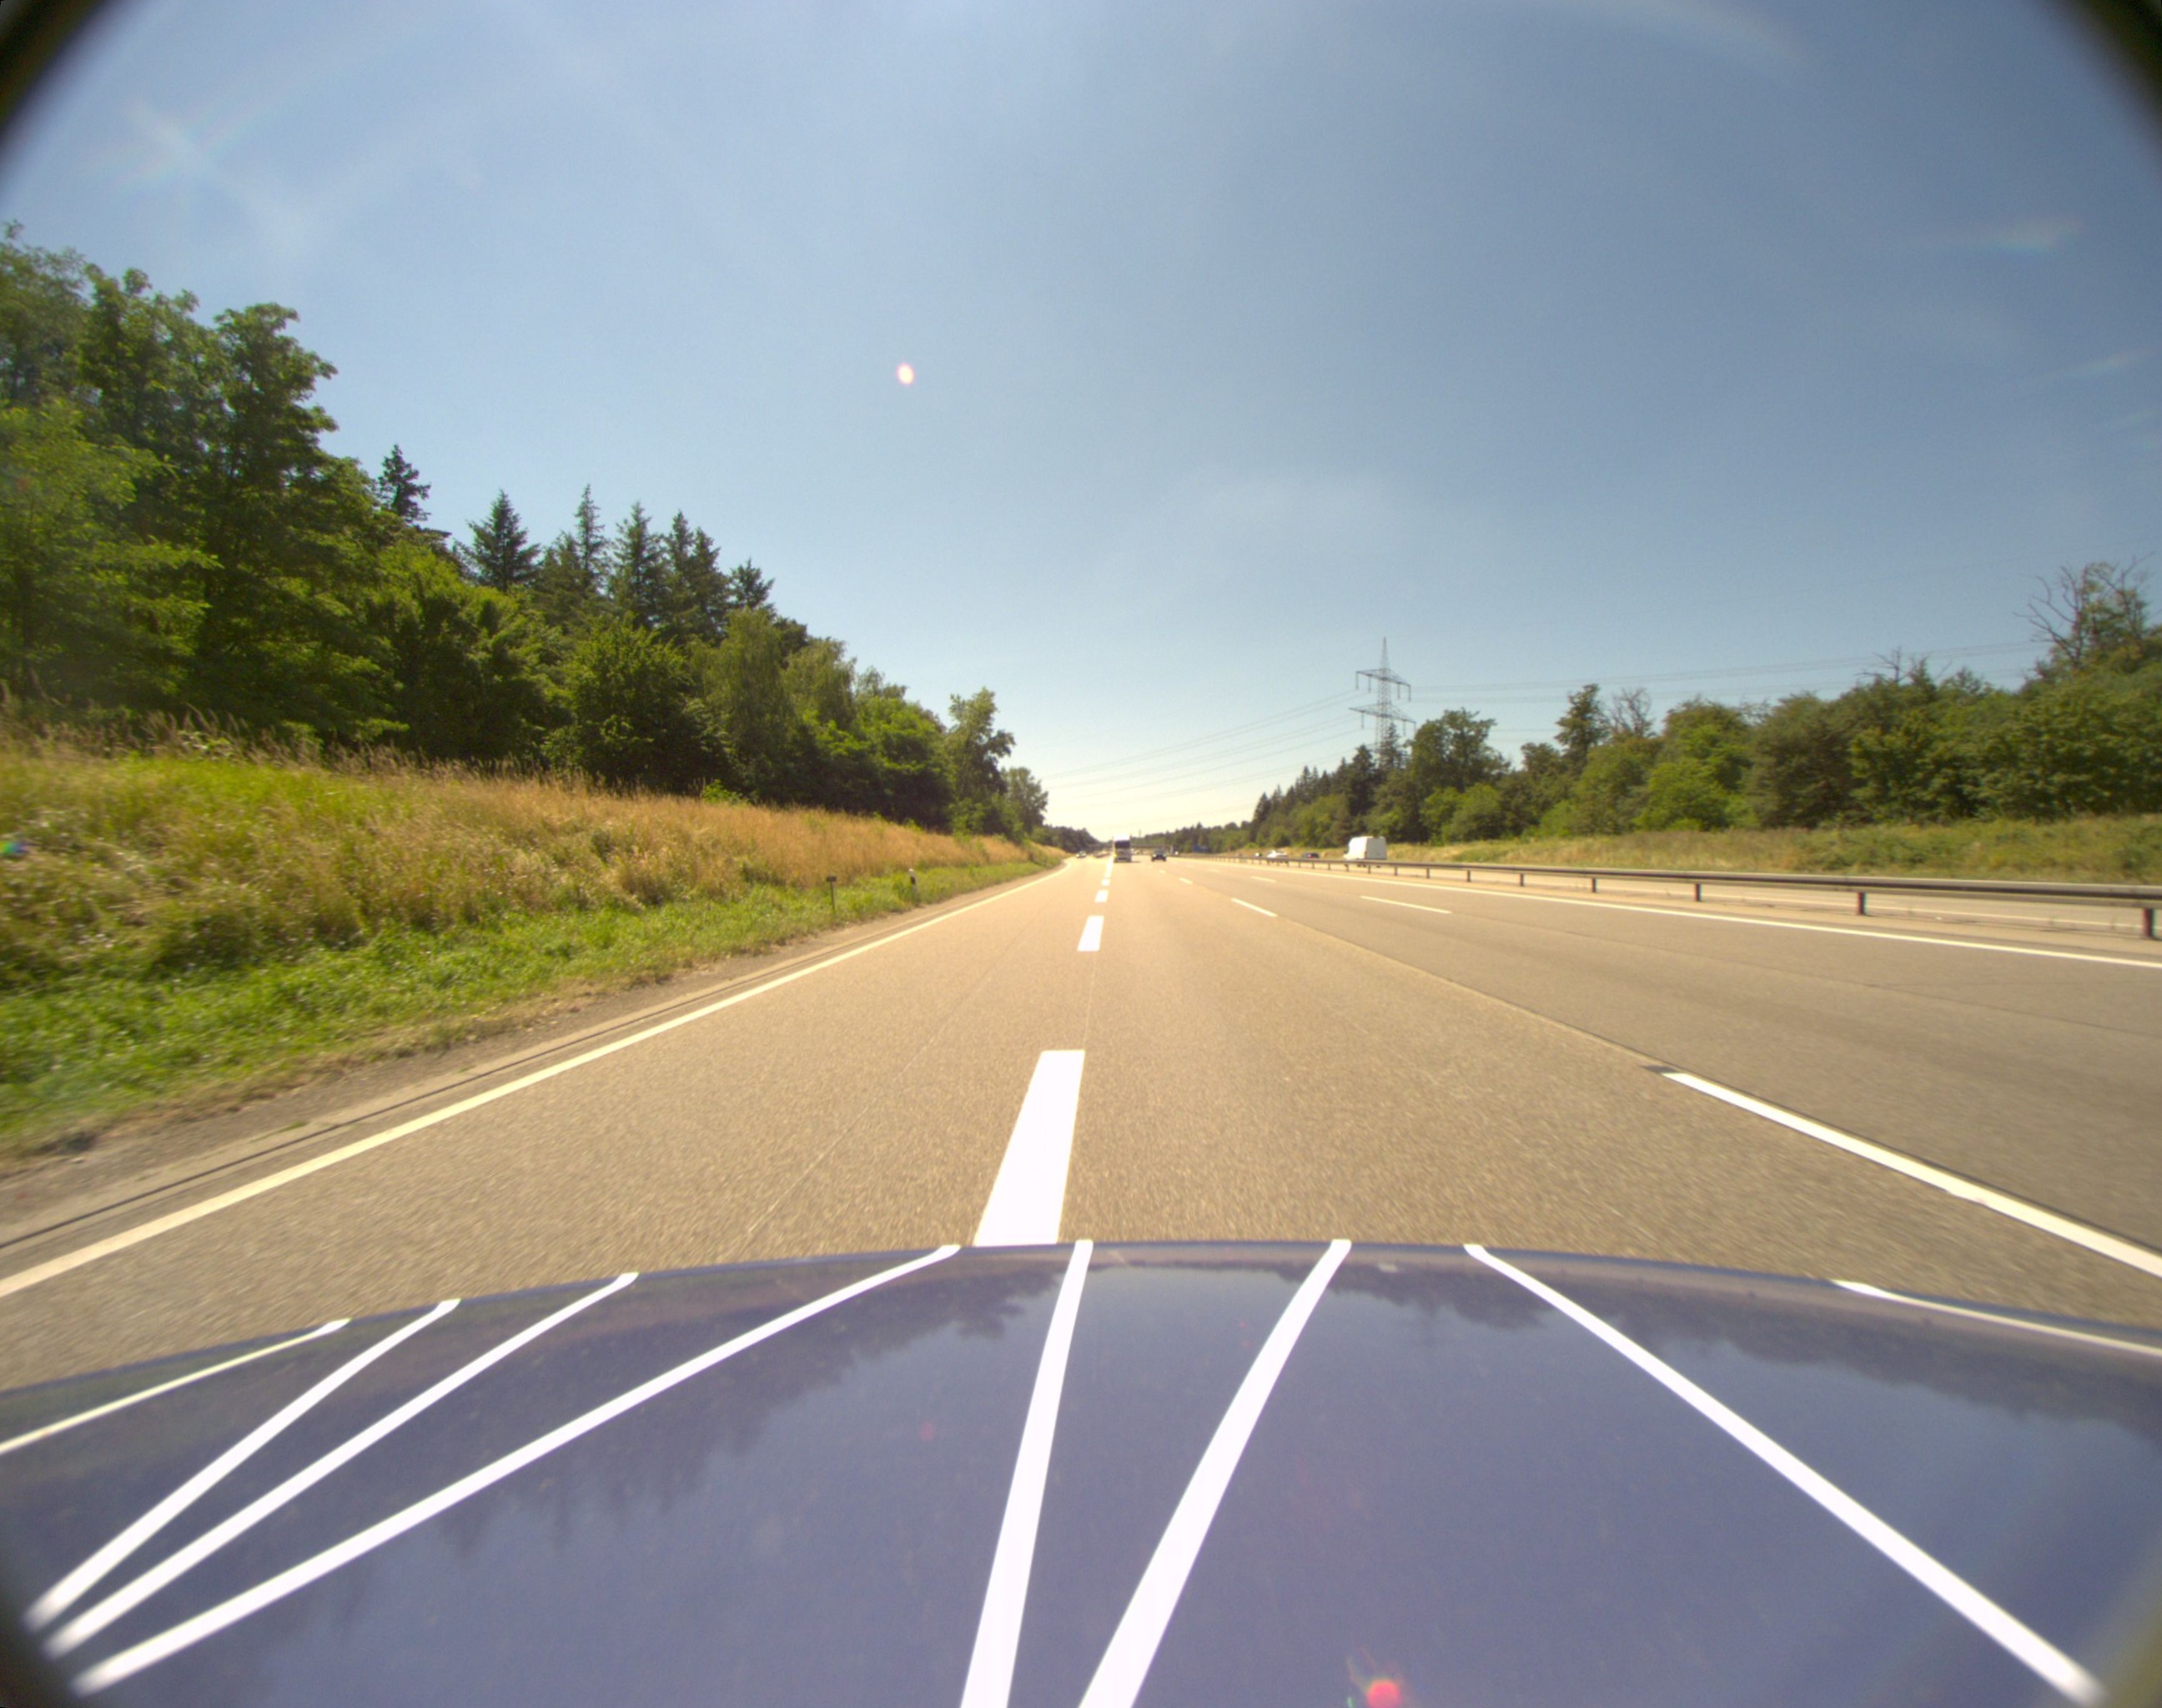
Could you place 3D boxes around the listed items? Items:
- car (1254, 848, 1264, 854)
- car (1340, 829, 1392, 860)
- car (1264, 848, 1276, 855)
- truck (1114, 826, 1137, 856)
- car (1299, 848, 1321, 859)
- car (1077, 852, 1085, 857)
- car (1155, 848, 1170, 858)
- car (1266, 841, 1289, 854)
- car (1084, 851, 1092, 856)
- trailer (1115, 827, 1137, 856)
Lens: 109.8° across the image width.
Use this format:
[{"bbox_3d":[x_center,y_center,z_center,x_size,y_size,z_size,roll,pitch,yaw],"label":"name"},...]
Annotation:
[{"bbox_3d":[46.270,-0.767,197.574,1.562,1.518,4.000,-2,1,2],"label":"car"},{"bbox_3d":[26.221,-0.847,70.171,2.348,2.695,6.874,1,0,2],"label":"car"},{"bbox_3d":[42.952,-0.590,172.769,1.793,1.412,4.436,-2,1,3],"label":"car"},{"bbox_3d":[6.269,-1.744,106.031,2.979,4.118,5.350,-1,0,5],"label":"truck"},{"bbox_3d":[31.337,-0.073,103.950,1.695,1.383,4.676,1,0,2],"label":"car"},{"bbox_3d":[-0.018,0.166,214.438,1.898,1.417,4.262,-2,0,5],"label":"car"},{"bbox_3d":[11.658,-0.172,109.036,1.898,1.417,4.262,-2,0,5],"label":"car"},{"bbox_3d":[23.189,-0.761,89.732,1.695,1.383,4.676,1,0,2],"label":"car"},{"bbox_3d":[2.228,-0.125,240.697,1.898,1.417,4.262,-2,0,5],"label":"car"},{"bbox_3d":[6.711,-1.761,111.889,2.981,4.118,11.699,-1,0,4],"label":"trailer"}]
